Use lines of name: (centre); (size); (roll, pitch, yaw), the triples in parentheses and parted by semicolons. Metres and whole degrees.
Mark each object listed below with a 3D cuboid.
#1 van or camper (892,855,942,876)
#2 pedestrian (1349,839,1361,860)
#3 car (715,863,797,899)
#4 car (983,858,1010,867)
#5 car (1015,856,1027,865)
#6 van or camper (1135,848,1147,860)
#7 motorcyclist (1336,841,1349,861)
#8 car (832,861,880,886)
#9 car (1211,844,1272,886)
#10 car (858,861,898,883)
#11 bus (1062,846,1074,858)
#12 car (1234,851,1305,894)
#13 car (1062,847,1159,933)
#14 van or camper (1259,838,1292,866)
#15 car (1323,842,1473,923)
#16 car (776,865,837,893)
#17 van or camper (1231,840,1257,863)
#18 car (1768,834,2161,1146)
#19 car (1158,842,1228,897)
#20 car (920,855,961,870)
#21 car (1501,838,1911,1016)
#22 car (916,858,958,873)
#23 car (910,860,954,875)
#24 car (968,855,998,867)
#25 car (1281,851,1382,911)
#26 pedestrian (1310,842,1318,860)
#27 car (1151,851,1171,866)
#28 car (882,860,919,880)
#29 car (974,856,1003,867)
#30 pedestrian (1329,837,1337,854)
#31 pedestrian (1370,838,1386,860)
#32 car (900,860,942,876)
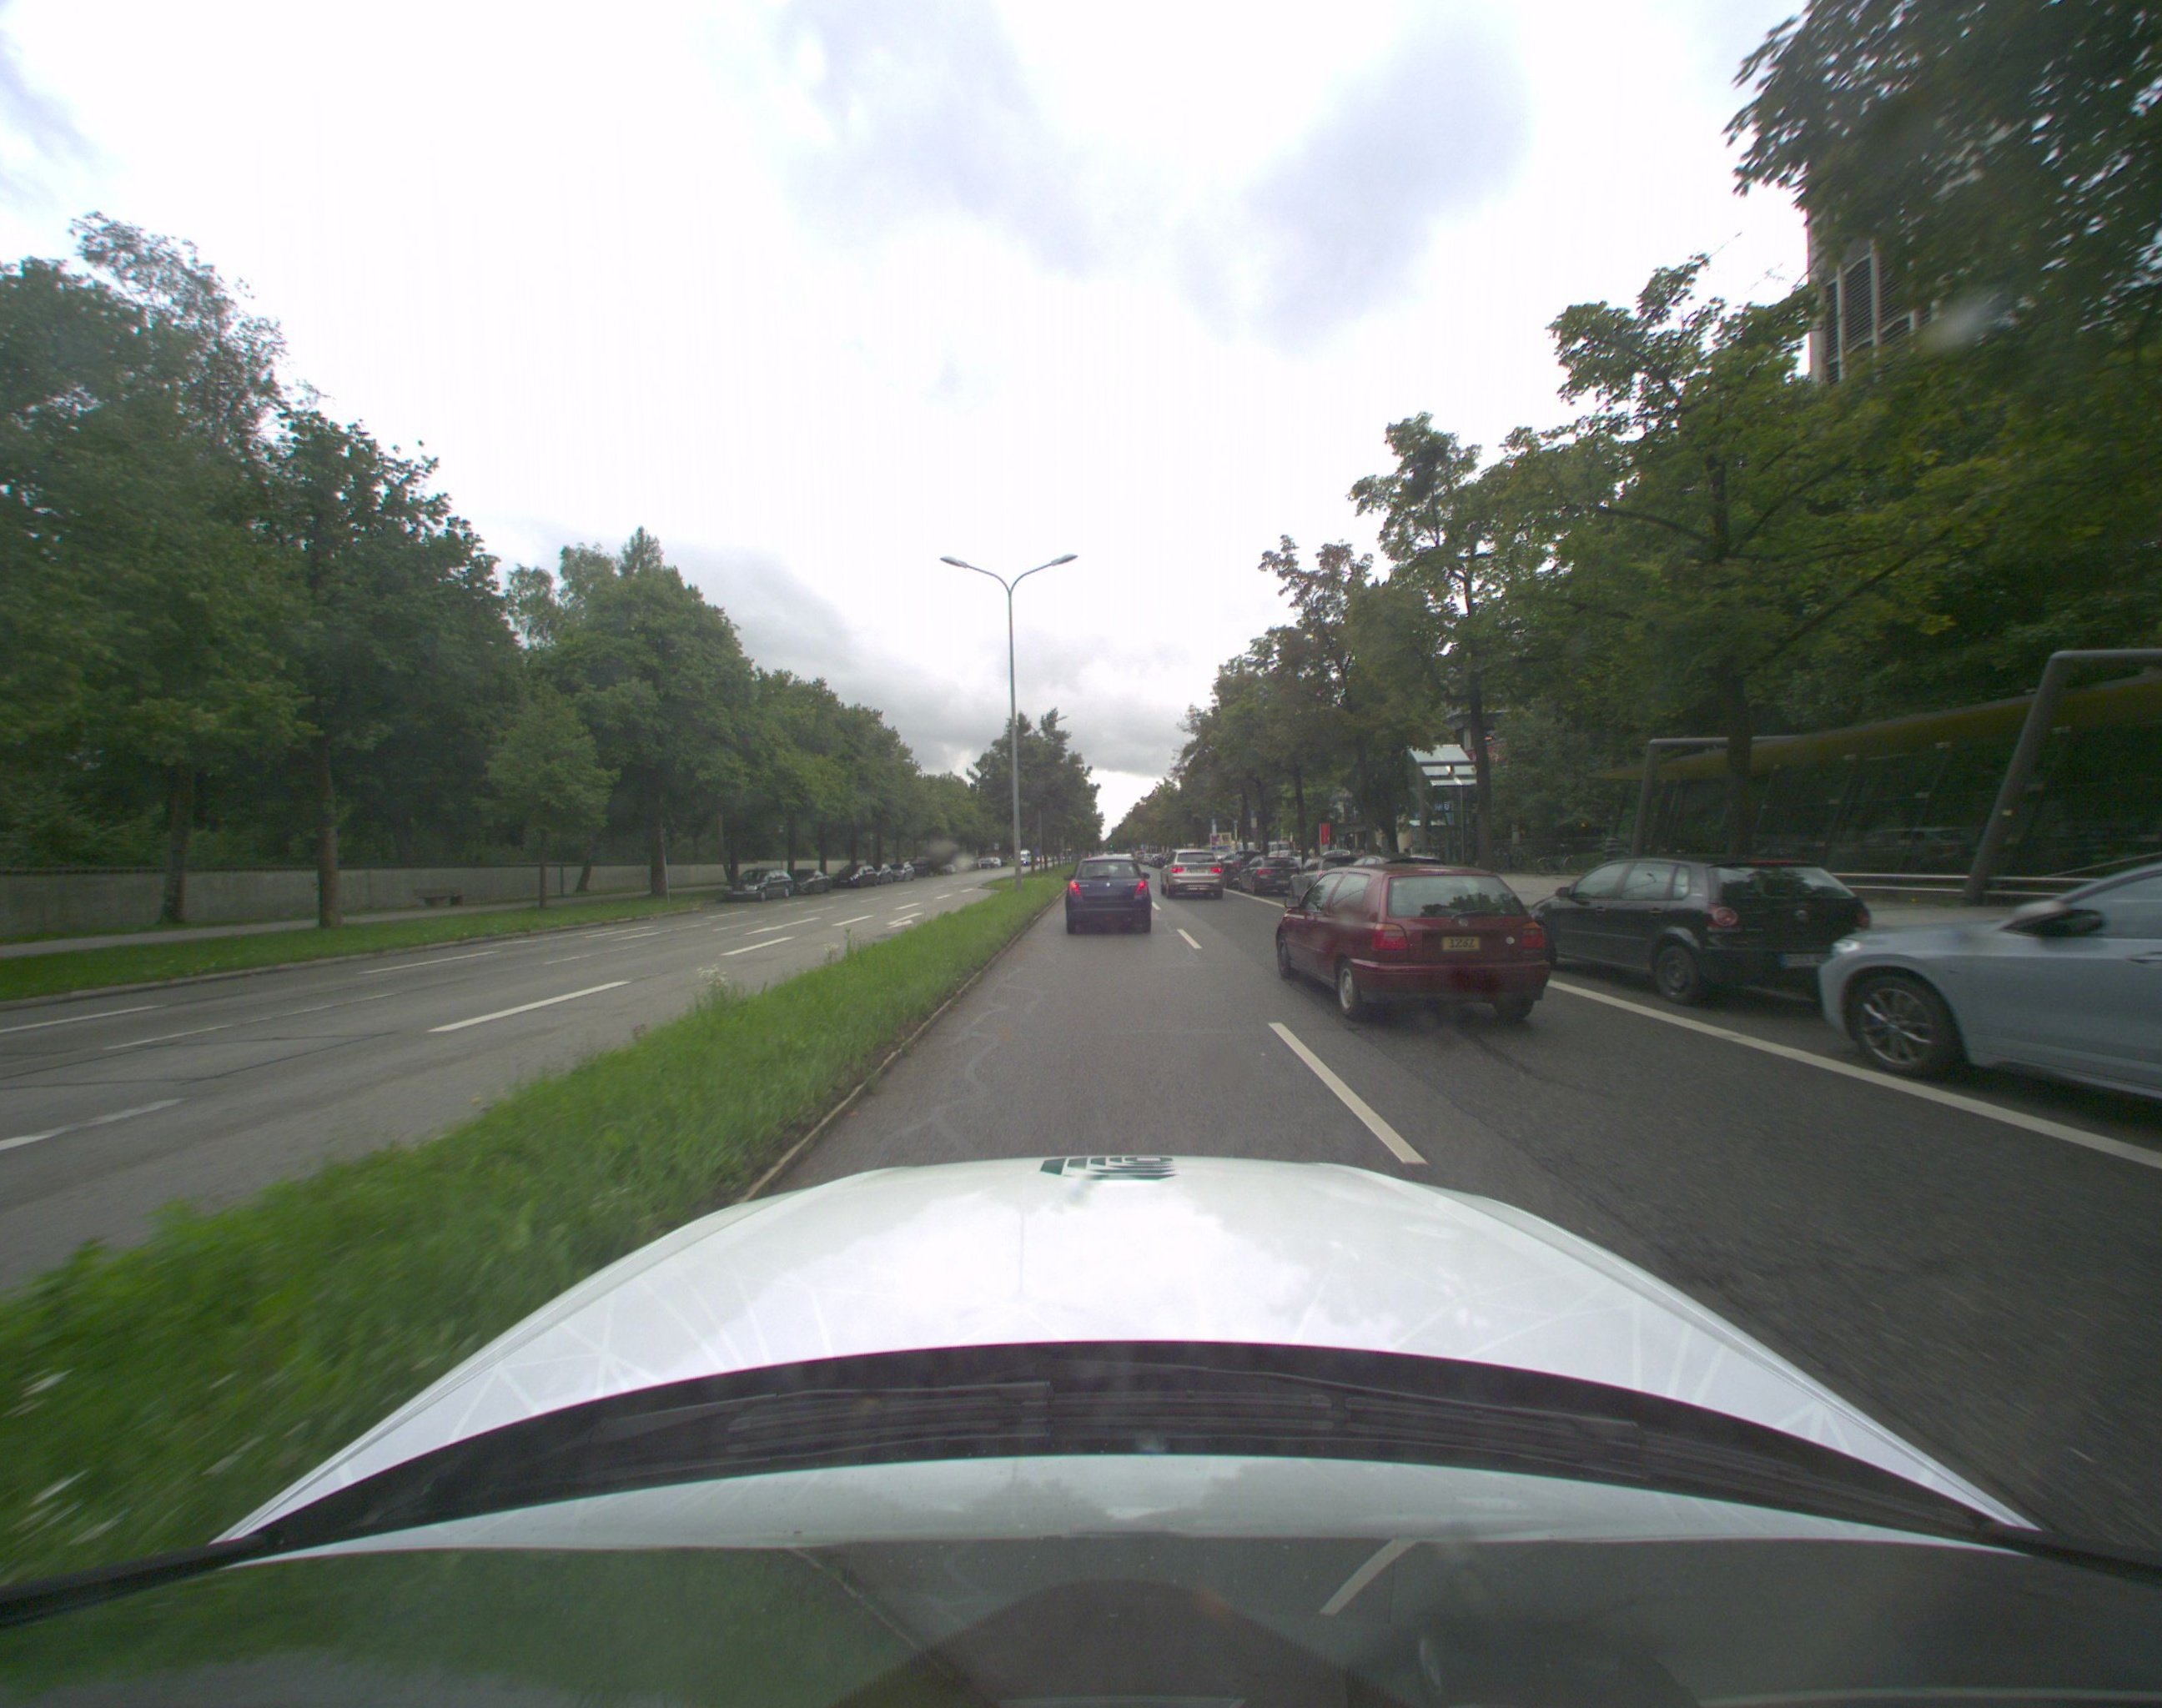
van or camper: (-15.330, 1.059, 76.247); (4.146, 1.854, 1.829); (-2, 0, -39)
pedestrian: (22.799, -0.384, 67.811); (0.536, 1.721, 0.988); (-4, 0, 2)
car: (-15.211, 1.232, 38.426); (1.792, 1.490, 4.917); (0, 0, 2)
car: (-14.054, 1.365, 135.694); (4.122, 1.474, 1.687); (-1, -1, -32)
car: (-10.613, 1.158, 144.213); (1.907, 1.542, 4.187); (-2, 0, 0)
van or camper: (10.285, -0.036, 139.509); (1.937, 1.975, 4.309); (-2, 0, 2)
motorcyclist: (23.897, -0.286, 74.412); (0.688, 1.737, 0.953); (-6, 0, 1)
car: (-14.570, 1.219, 53.018); (1.563, 1.503, 4.310); (0, 0, 6)
car: (6.906, 0.452, 35.443); (1.780, 1.675, 4.596); (-2, 0, 1)
car: (-14.520, 1.277, 58.449); (1.581, 1.458, 4.799); (0, 0, 1)
bus: (-3.843, -0.648, 240.949); (2.727, 3.377, 12.020); (-3, 0, 2)
car: (6.834, 0.631, 29.929); (1.627, 1.439, 4.305); (-2, 0, 1)
car: (0.561, 0.675, 17.330); (1.783, 1.555, 3.999); (-2, 0, 0)
van or camper: (18.847, -0.225, 79.195); (1.986, 2.558, 5.959); (-2, 0, 2)
car: (6.708, 0.535, 17.738); (1.711, 1.508, 4.225); (-2, 0, 2)
car: (-14.917, 1.328, 44.526); (1.653, 1.396, 4.708); (0, 0, 2)
van or camper: (19.155, -0.324, 95.733); (2.016, 2.558, 5.959); (-2, 0, 2)
car: (6.177, 0.654, 4.152); (1.714, 1.534, 4.400); (-1, 0, 1)
car: (3.811, 0.494, 28.399); (1.844, 1.743, 4.097); (-2, 0, 0)
car: (-15.699, 0.952, 91.295); (4.127, 1.597, 1.897); (-2, 0, -38)
car: (6.508, 0.637, 9.150); (1.536, 1.534, 4.092); (-1, 0, 1)
car: (-15.195, 1.198, 85.906); (4.059, 1.381, 1.657); (-2, 0, -34)
car: (-15.140, 1.395, 82.684); (4.015, 1.354, 1.831); (-2, 0, -33)
car: (-14.749, 1.021, 122.733); (4.122, 1.695, 1.900); (-2, 0, -32)
car: (6.796, 0.681, 22.499); (1.628, 1.453, 4.079); (-2, 0, 2)
pedestrian: (22.541, -0.258, 78.872); (0.572, 1.751, 0.733); (-2, 0, 6)
car: (8.708, 0.432, 88.862); (1.758, 1.546, 4.425); (-1, 0, 1)
car: (-14.305, 1.249, 64.823); (1.629, 1.439, 4.812); (0, 0, 3)
car: (-14.355, 1.130, 126.600); (4.122, 1.585, 1.900); (-2, 0, -32)
pedestrian: (25.110, -0.845, 81.170); (0.572, 1.751, 0.733); (-2, 0, 6)
pedestrian: (24.090, -0.421, 66.055); (0.825, 1.721, 0.940); (-4, 0, 1)
car: (-15.552, 1.361, 79.208); (3.590, 1.354, 1.737); (-2, 0, -29)
